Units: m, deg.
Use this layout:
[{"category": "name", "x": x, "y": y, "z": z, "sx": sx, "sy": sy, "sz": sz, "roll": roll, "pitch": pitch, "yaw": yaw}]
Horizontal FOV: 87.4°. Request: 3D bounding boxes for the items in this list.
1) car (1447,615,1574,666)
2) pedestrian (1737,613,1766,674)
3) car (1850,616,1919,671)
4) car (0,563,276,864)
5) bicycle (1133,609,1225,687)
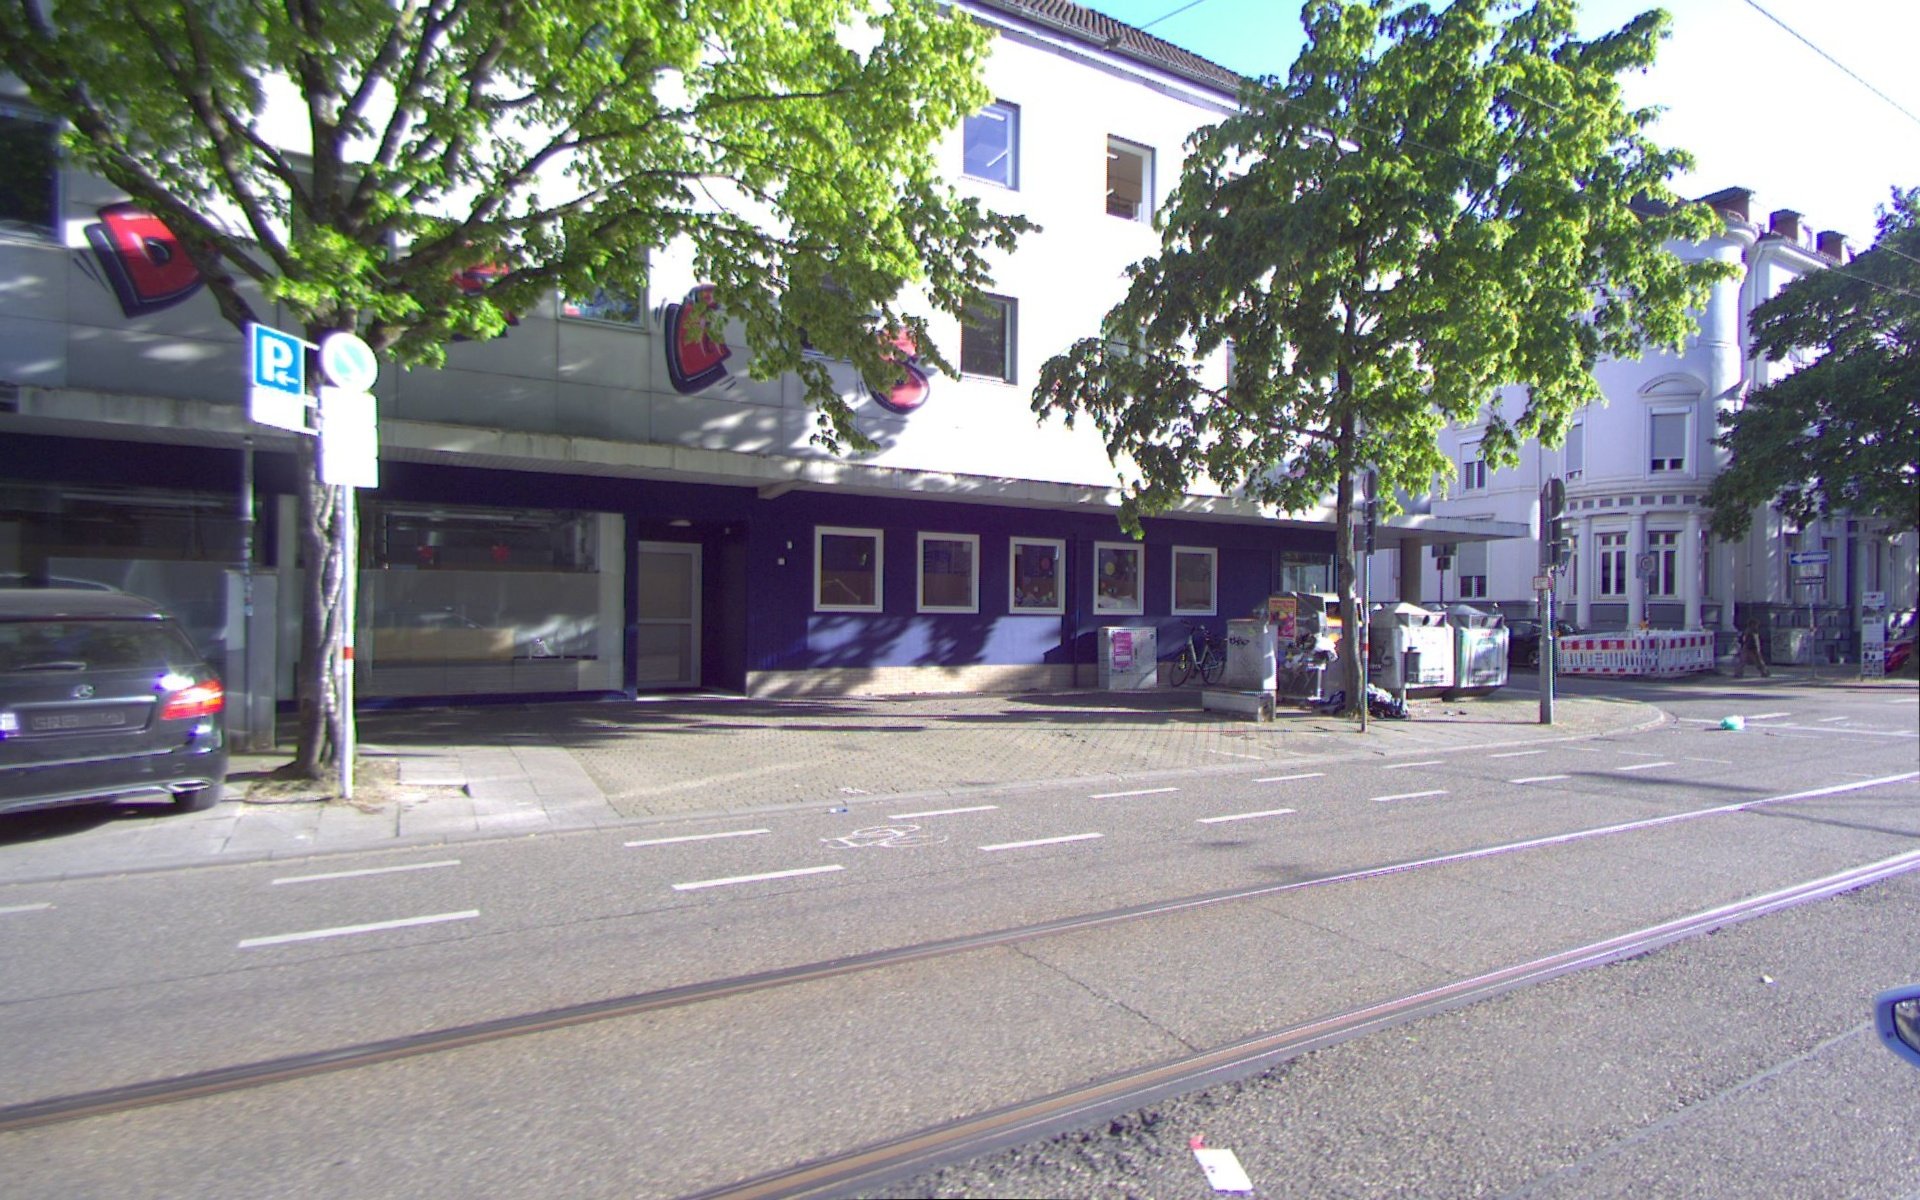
[{"category": "car", "x": 16.965, "y": 1.214, "z": 31.066, "sx": 1.455, "sy": 1.462, "sz": 3.230, "roll": 1, "pitch": -1, "yaw": -24}, {"category": "pedestrian", "x": 20.803, "y": 1.130, "z": 26.407, "sx": 0.502, "sy": 1.593, "sz": 0.346, "roll": 0, "pitch": 0, "yaw": -2}, {"category": "car", "x": 27.164, "y": 1.240, "z": 27.494, "sx": 3.841, "sy": 1.472, "sz": 1.636, "roll": 2, "pitch": 0, "yaw": 27}, {"category": "car", "x": -6.993, "y": 0.605, "z": 7.449, "sx": 4.227, "sy": 1.689, "sz": 1.904, "roll": 3, "pitch": 2, "yaw": 37}, {"category": "bicycle", "x": 4.064, "y": 0.865, "z": 18.489, "sx": 2.169, "sy": 1.362, "sz": 0.520, "roll": 1, "pitch": -1, "yaw": -43}]
